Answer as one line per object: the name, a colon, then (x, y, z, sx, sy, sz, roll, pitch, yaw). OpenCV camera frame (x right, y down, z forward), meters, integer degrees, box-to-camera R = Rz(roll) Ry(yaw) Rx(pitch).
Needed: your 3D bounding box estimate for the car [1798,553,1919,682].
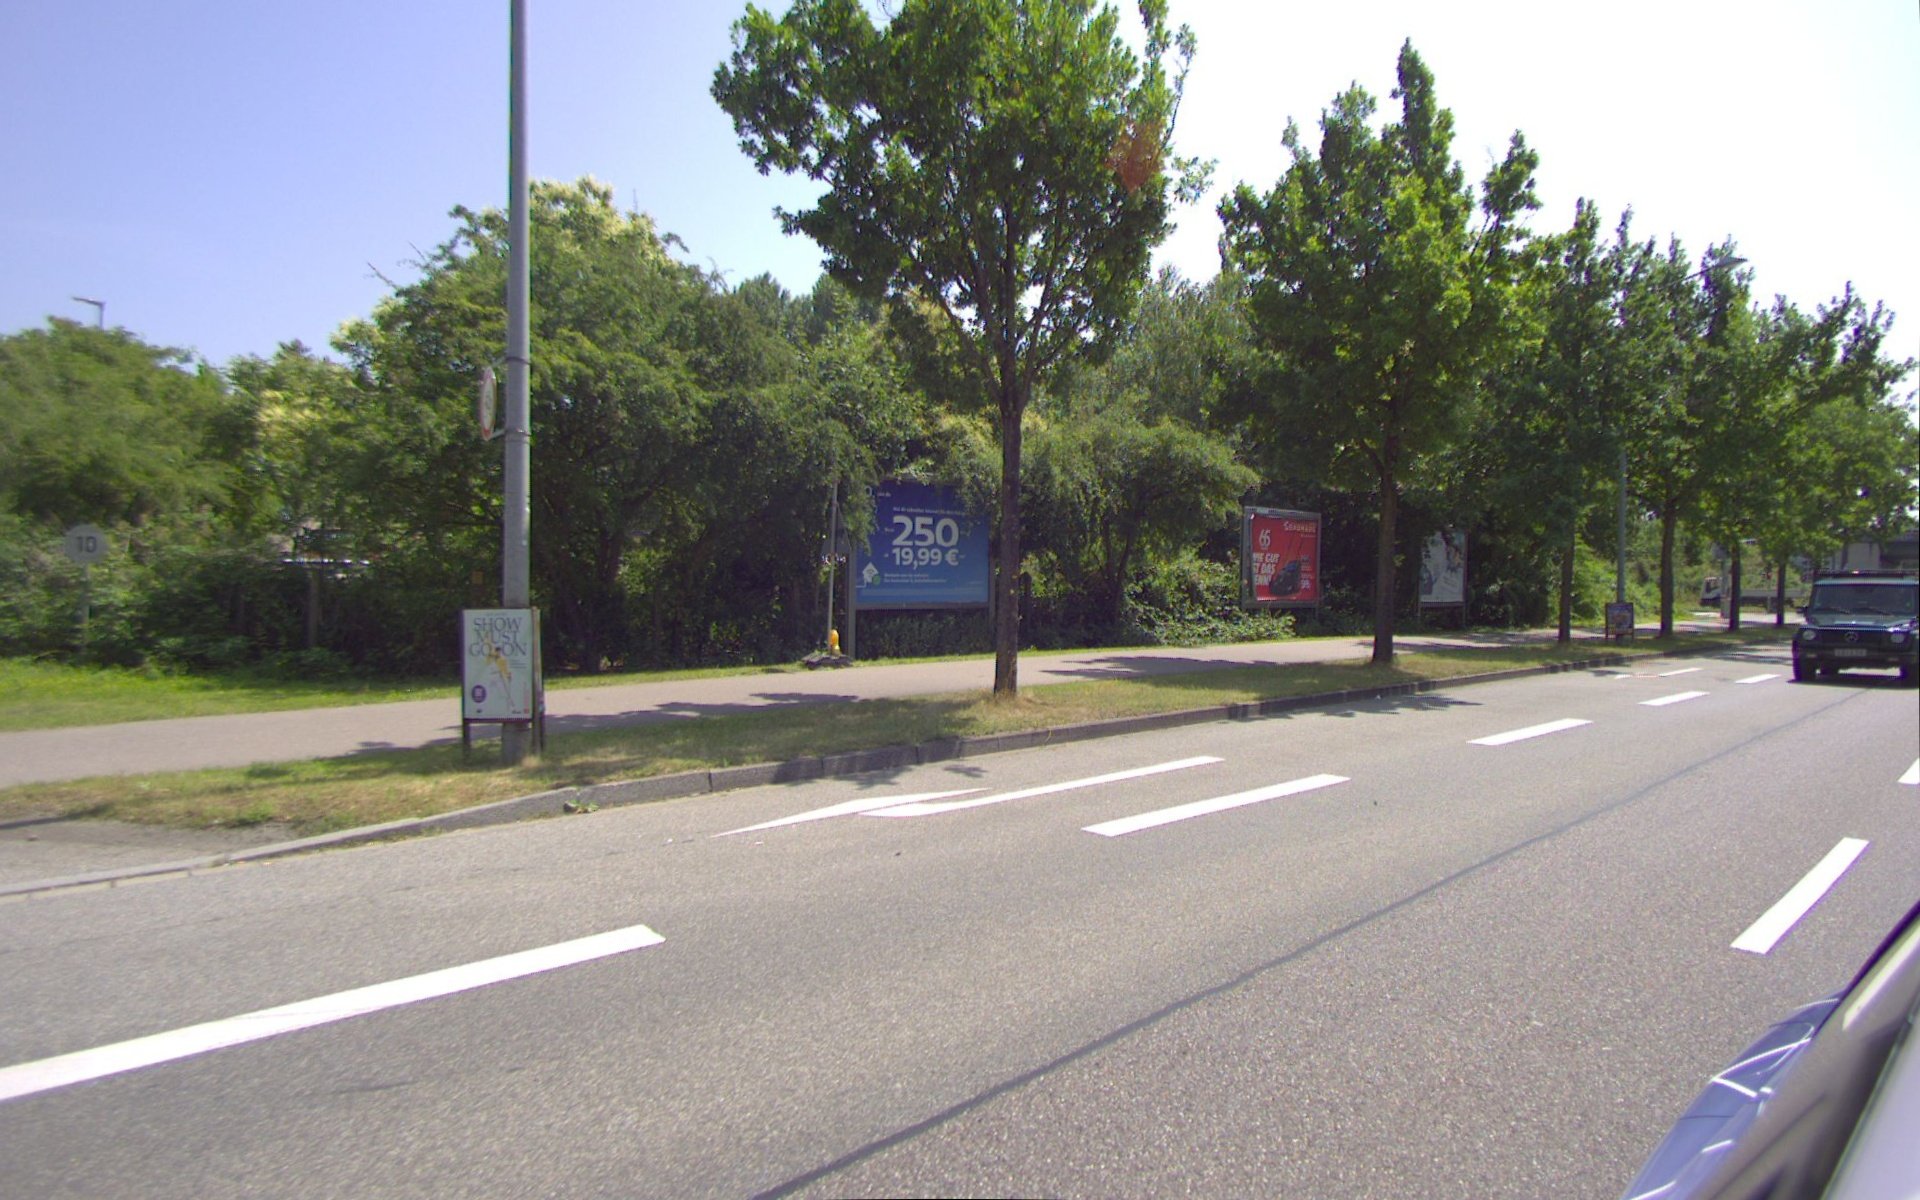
car: (17.454, 0.253, 19.160, 4.480, 2.180, 1.839, -1, 2, -43)

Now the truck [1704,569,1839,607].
truck: (65.983, -0.981, 82.571, 8.474, 2.952, 2.847, 1, 1, 39)
